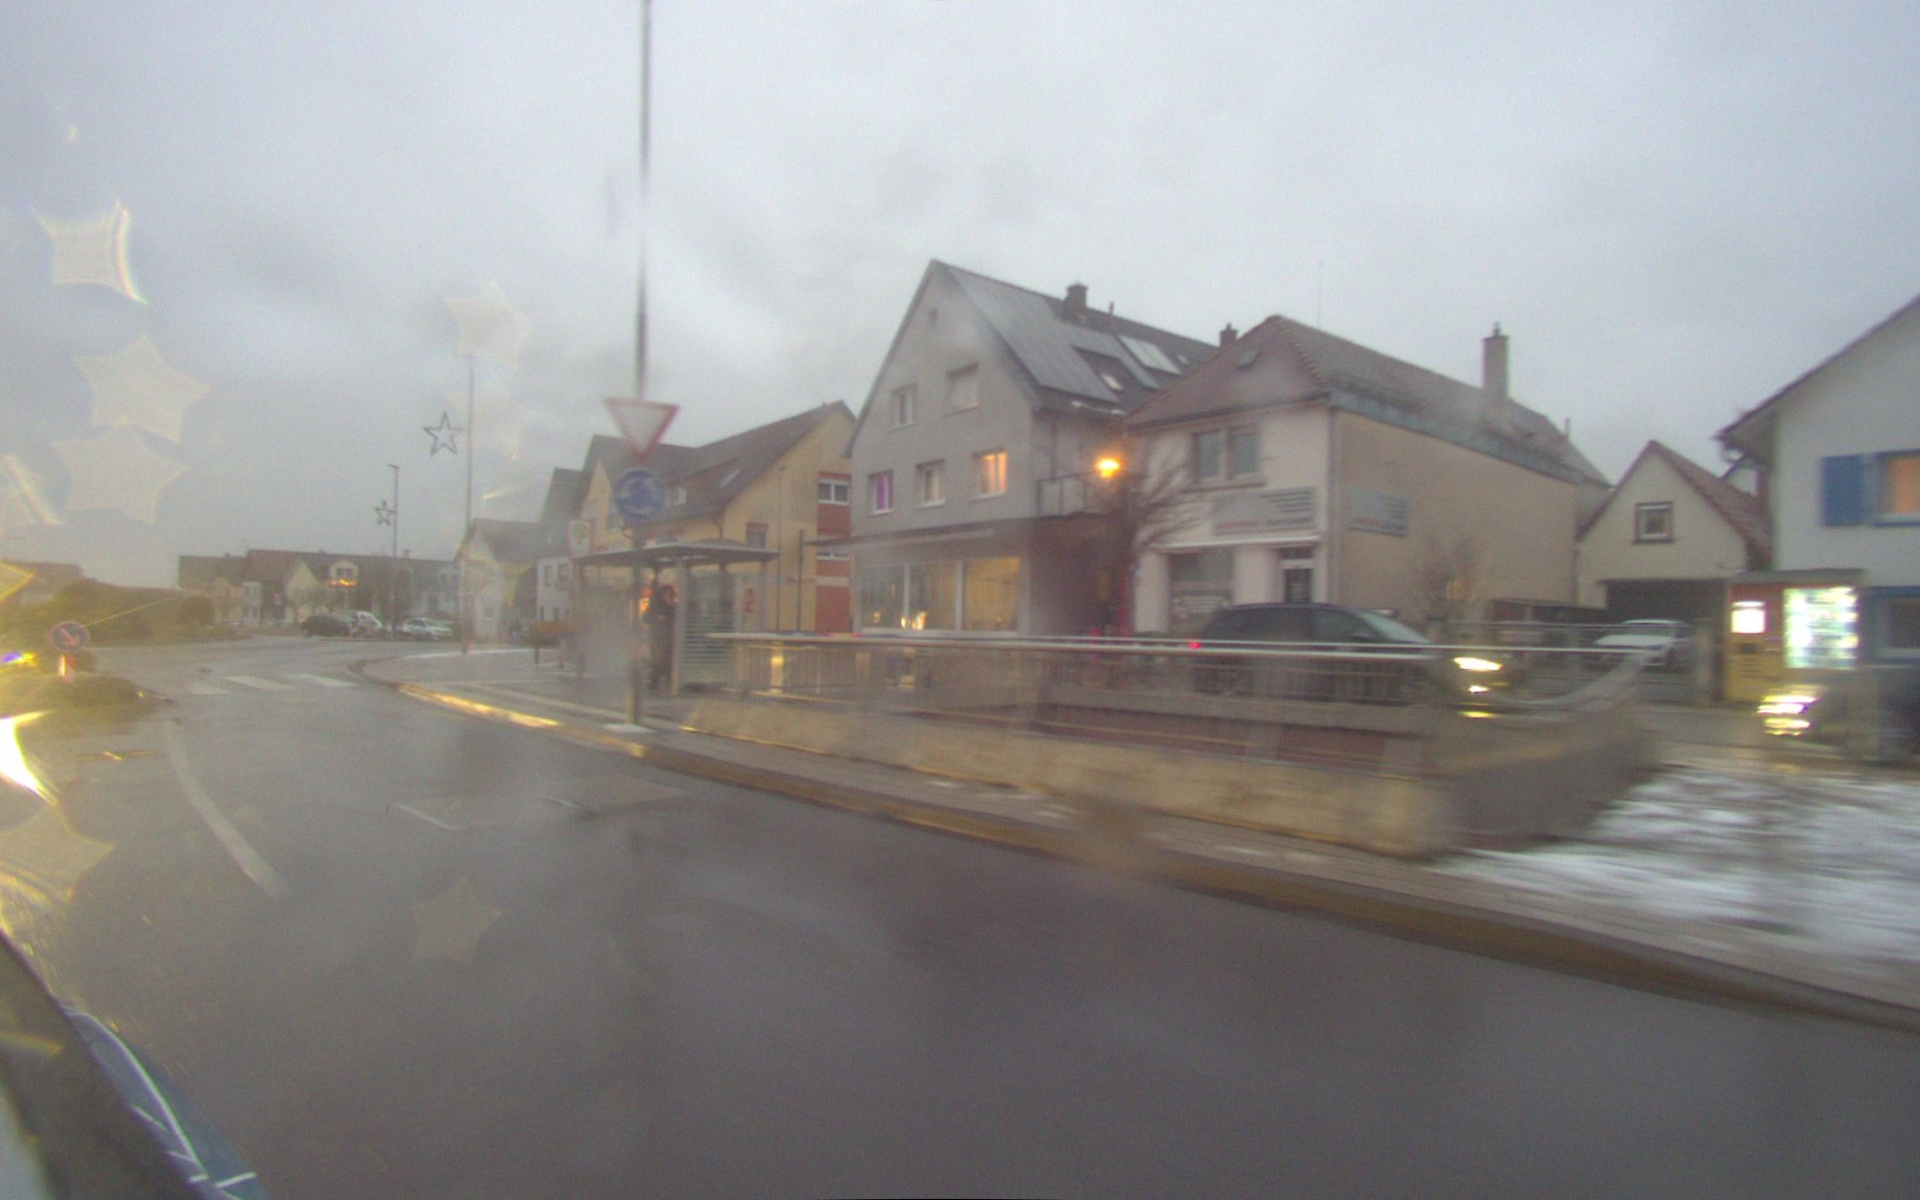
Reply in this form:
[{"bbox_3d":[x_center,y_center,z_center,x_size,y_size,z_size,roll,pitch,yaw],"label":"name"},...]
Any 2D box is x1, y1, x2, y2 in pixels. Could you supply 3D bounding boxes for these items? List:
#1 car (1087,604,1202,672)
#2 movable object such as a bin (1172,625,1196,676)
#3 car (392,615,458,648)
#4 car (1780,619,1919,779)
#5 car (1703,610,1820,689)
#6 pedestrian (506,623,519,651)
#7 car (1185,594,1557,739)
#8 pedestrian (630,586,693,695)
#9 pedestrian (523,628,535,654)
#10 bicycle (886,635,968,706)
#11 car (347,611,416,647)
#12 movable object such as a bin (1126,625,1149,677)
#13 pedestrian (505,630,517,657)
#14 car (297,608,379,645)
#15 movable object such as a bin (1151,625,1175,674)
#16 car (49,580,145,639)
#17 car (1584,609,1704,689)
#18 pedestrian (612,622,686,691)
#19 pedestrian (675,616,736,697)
[{"bbox_3d":[5.404,1.070,29.484,3.373,1.867,1.516,1,-1,-40],"label":"car"},{"bbox_3d":[5.188,1.163,23.449,0.284,1.151,0.454,0,2,-43],"label":"movable object such as a bin"},{"bbox_3d":[-34.194,1.989,64.641,3.854,1.895,1.917,1,1,28],"label":"car"},{"bbox_3d":[10.531,0.923,9.244,4.572,1.494,1.782,-2,-3,44],"label":"car"},{"bbox_3d":[20.400,1.289,25.722,3.607,1.855,1.678,4,-4,-41],"label":"car"},{"bbox_3d":[-26.775,2.222,60.495,0.574,1.623,0.500,0,2,-44],"label":"pedestrian"},{"bbox_3d":[5.601,0.891,14.290,1.734,1.714,4.569,4,-4,-42],"label":"car"},{"bbox_3d":[-4.995,0.662,16.916,0.687,1.755,0.740,-2,-1,42],"label":"pedestrian"},{"bbox_3d":[-27.456,2.602,64.500,0.574,1.623,0.500,0,2,-44],"label":"pedestrian"},{"bbox_3d":[-0.548,1.074,15.895,0.463,1.017,1.744,1,-2,-32],"label":"bicycle"},{"bbox_3d":[-35.681,1.744,62.443,3.954,2.029,1.908,1,1,28],"label":"car"},{"bbox_3d":[4.287,1.222,24.449,0.284,1.219,0.454,0,2,-43],"label":"movable object such as a bin"},{"bbox_3d":[-28.025,2.707,63.157,0.574,1.623,0.500,0,2,-44],"label":"pedestrian"},{"bbox_3d":[-36.927,1.558,60.101,3.963,2.010,1.962,1,1,15],"label":"car"},{"bbox_3d":[4.799,1.165,23.902,0.284,1.129,0.454,0,2,-43],"label":"movable object such as a bin"},{"bbox_3d":[-32.054,0.294,37.746,2.024,2.001,4.551,0,1,-31],"label":"car"},{"bbox_3d":[18.686,1.365,27.593,3.526,2.034,1.840,4,-4,-41],"label":"car"},{"bbox_3d":[-5.530,0.987,18.011,0.976,1.167,0.903,0,-2,-39],"label":"pedestrian"},{"bbox_3d":[-4.185,0.907,16.633,0.677,1.281,0.751,-1,-1,-44],"label":"pedestrian"}]
